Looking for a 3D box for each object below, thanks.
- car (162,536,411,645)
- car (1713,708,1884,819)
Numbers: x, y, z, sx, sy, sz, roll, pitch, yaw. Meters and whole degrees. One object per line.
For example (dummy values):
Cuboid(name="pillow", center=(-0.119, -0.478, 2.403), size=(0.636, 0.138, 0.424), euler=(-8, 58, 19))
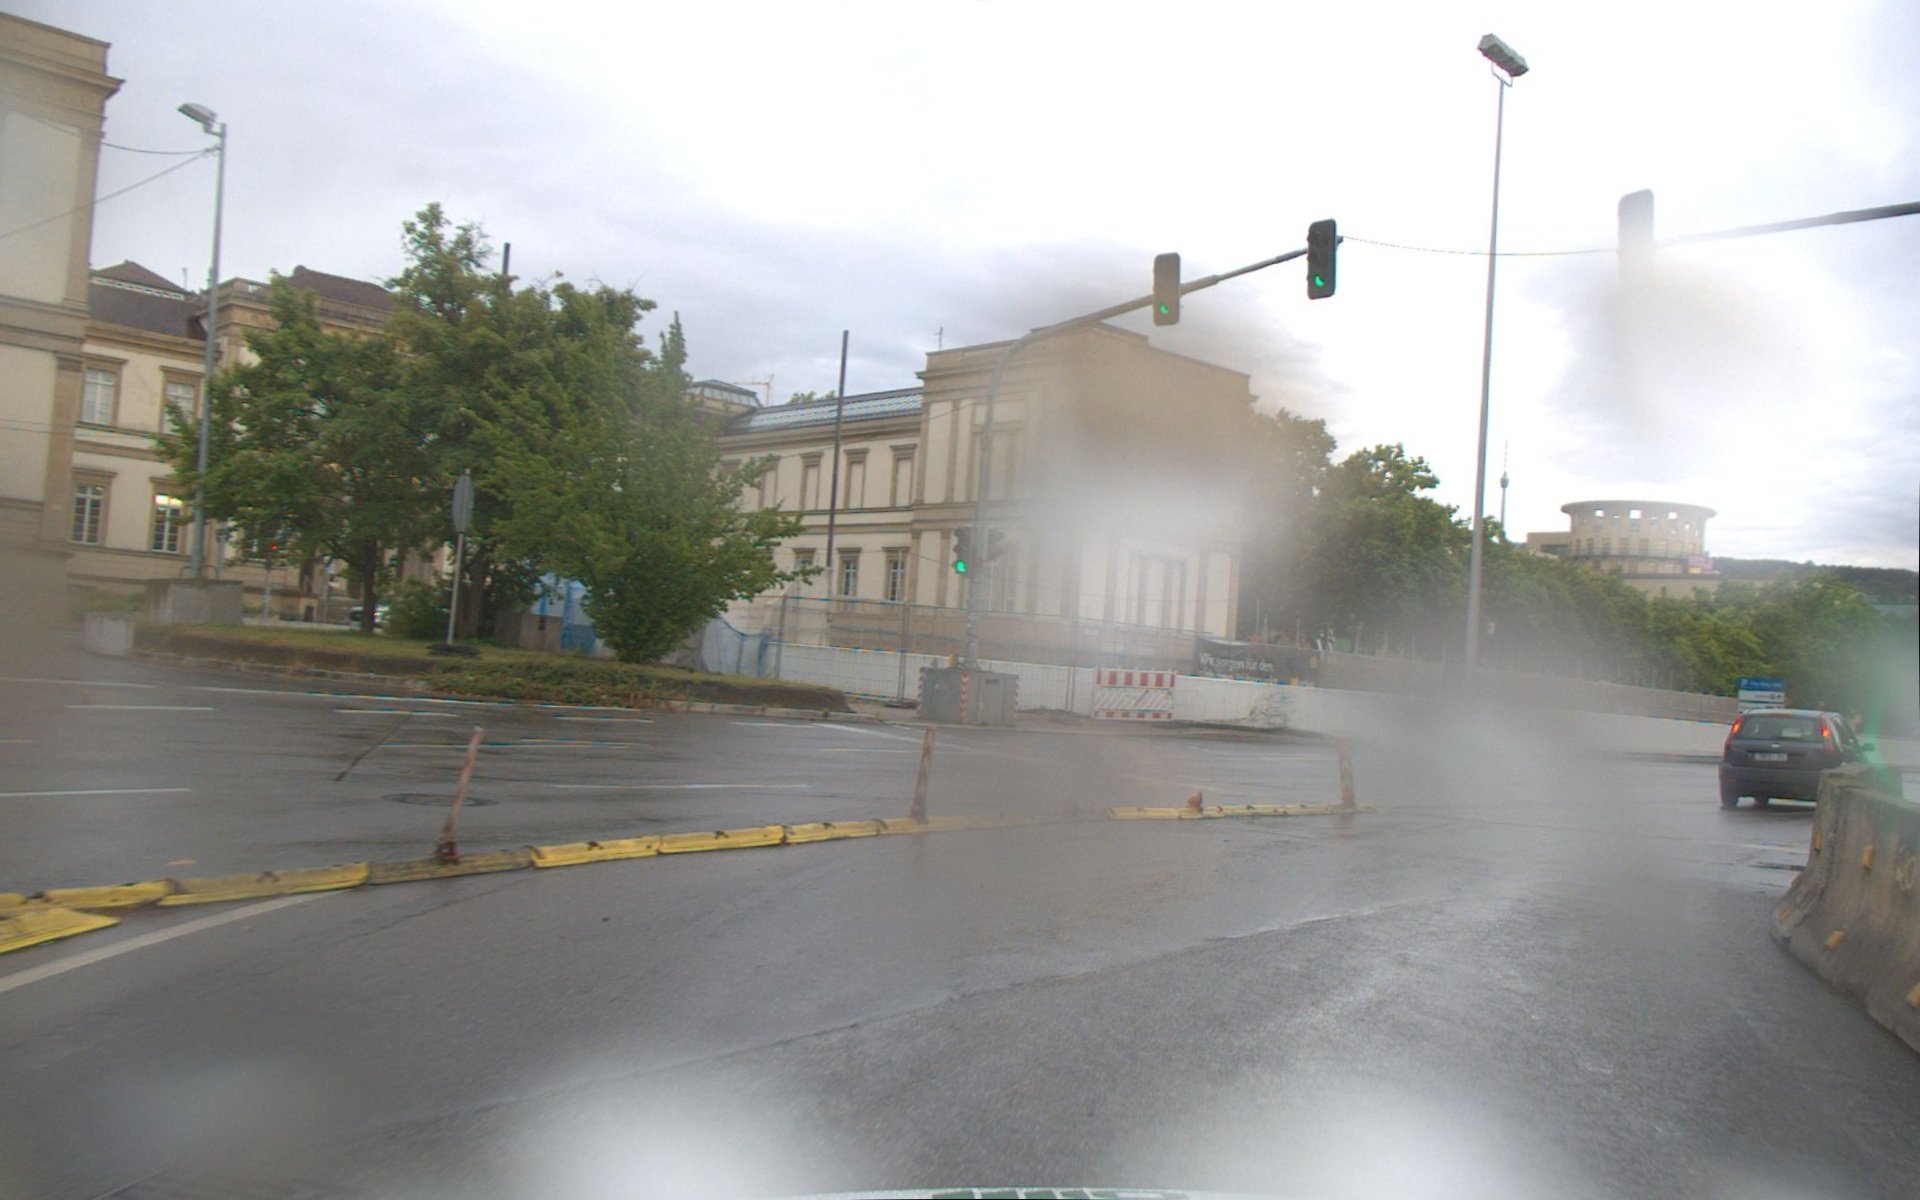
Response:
Cuboid(name="car", center=(-17.840, -0.197, 44.132), size=(2.323, 2.211, 5.665), euler=(5, -2, 33))
Cuboid(name="car", center=(12.455, 2.430, 24.459), size=(1.642, 1.452, 3.741), euler=(-1, -6, 37))
